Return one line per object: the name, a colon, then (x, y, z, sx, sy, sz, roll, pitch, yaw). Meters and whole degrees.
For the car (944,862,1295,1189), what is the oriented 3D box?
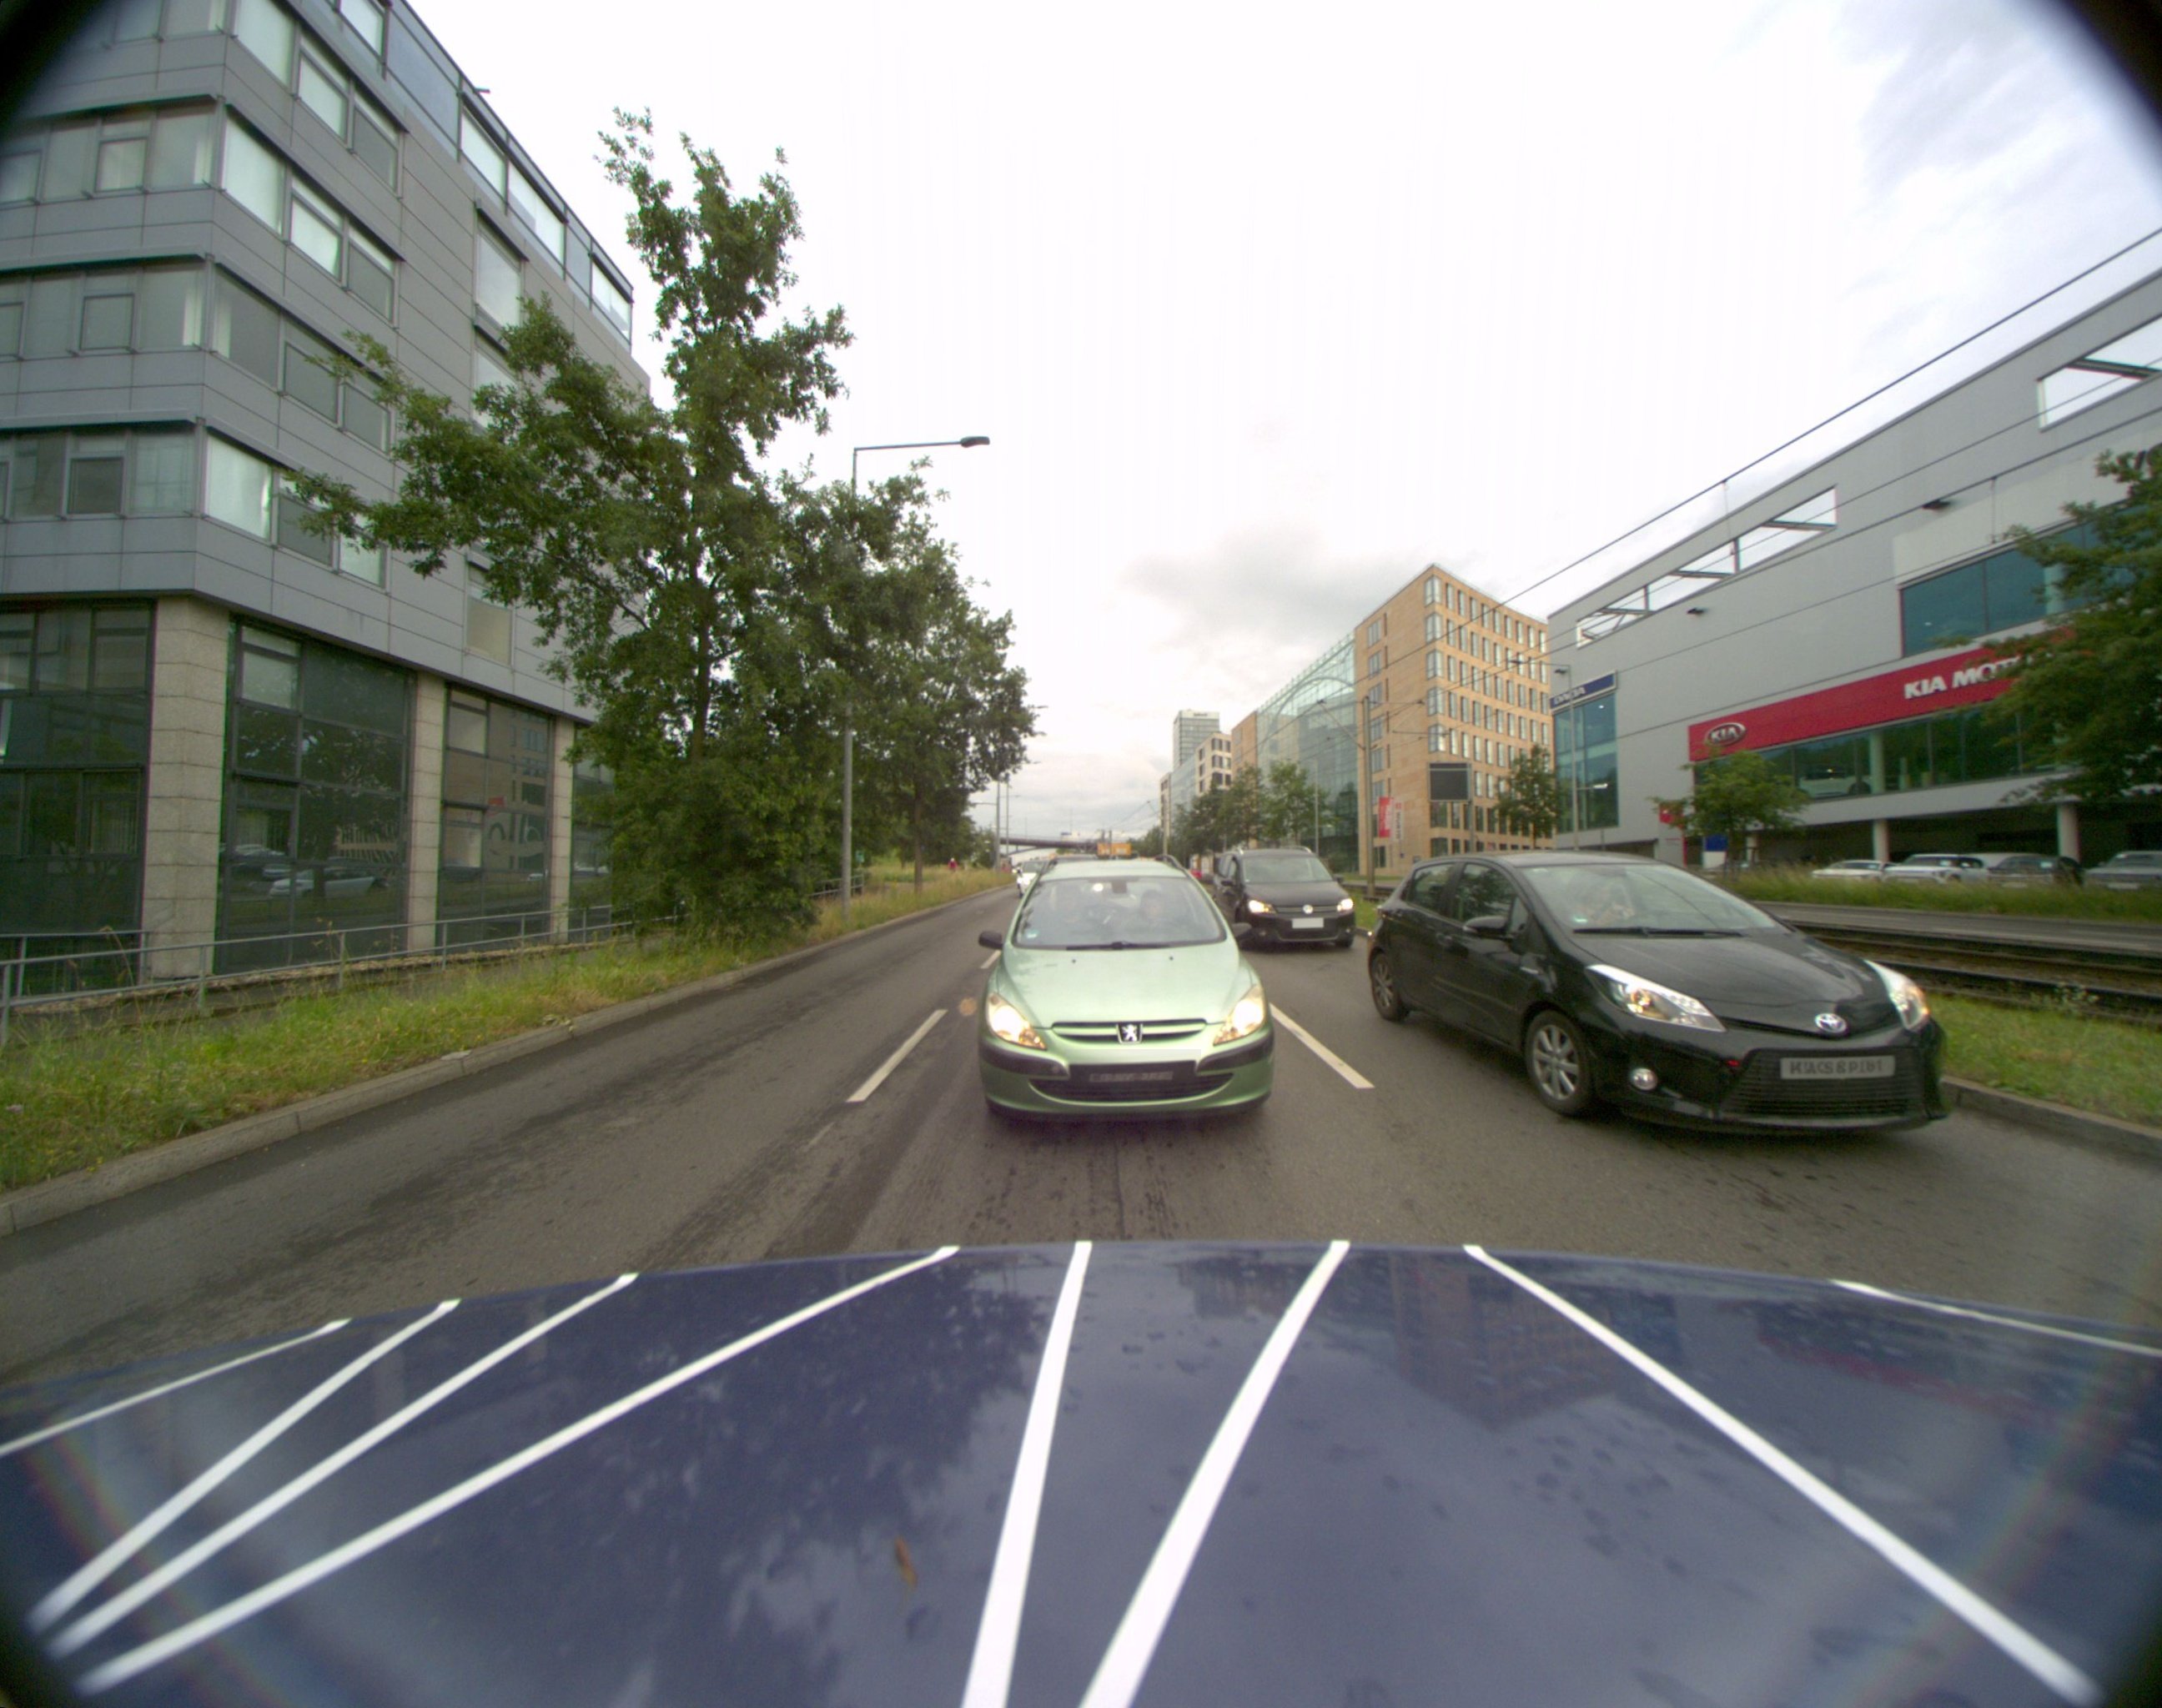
car: (0.177, 0.868, 5.940, 1.704, 1.523, 4.370, -1, 0, -1)

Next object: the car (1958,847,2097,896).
car: (31.608, 0.570, 25.390, 3.528, 1.344, 1.696, -4, 1, -17)

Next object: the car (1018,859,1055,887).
car: (-2.487, 1.046, 43.327, 1.828, 1.495, 3.766, -1, 0, 1)

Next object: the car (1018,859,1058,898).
car: (-1.797, 0.963, 31.457, 1.518, 1.495, 3.167, -1, 0, -4)

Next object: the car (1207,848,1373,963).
car: (3.380, 0.748, 13.167, 1.786, 1.597, 4.318, -2, 0, 2)

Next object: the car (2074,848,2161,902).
car: (32.039, 0.589, 22.837, 3.528, 1.344, 1.696, -4, 1, -20)

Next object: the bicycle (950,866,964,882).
bicycle: (-9.062, 1.431, 55.589, 0.582, 1.082, 1.906, -2, 0, 1)

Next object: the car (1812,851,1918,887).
car: (31.747, 0.578, 30.776, 3.668, 1.181, 1.696, -4, 1, -22)

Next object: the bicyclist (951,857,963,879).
bicyclist: (-9.059, 0.998, 55.584, 0.647, 1.569, 0.855, -2, 0, 1)

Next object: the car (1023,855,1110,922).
car: (-0.293, 0.883, 21.428, 1.757, 1.649, 4.340, -1, 0, 8)

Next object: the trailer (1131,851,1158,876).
trailer: (11.675, 1.697, 141.088, 3.143, 4.304, 13.277, 2, 0, -3)

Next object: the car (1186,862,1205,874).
car: (14.599, 1.765, 96.978, 1.588, 1.504, 4.101, 1, 0, -2)

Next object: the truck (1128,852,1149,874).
truck: (11.266, 1.732, 148.575, 3.144, 4.219, 7.026, 2, 0, -3)

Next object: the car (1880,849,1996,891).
car: (31.770, 0.562, 28.171, 3.668, 1.287, 1.696, -4, 1, -22)

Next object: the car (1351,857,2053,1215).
car: (3.436, 0.810, 5.270, 1.704, 1.523, 3.826, -1, 0, -1)

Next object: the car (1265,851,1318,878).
car: (14.536, 0.706, 52.733, 1.999, 1.709, 4.839, 1, 0, -4)
